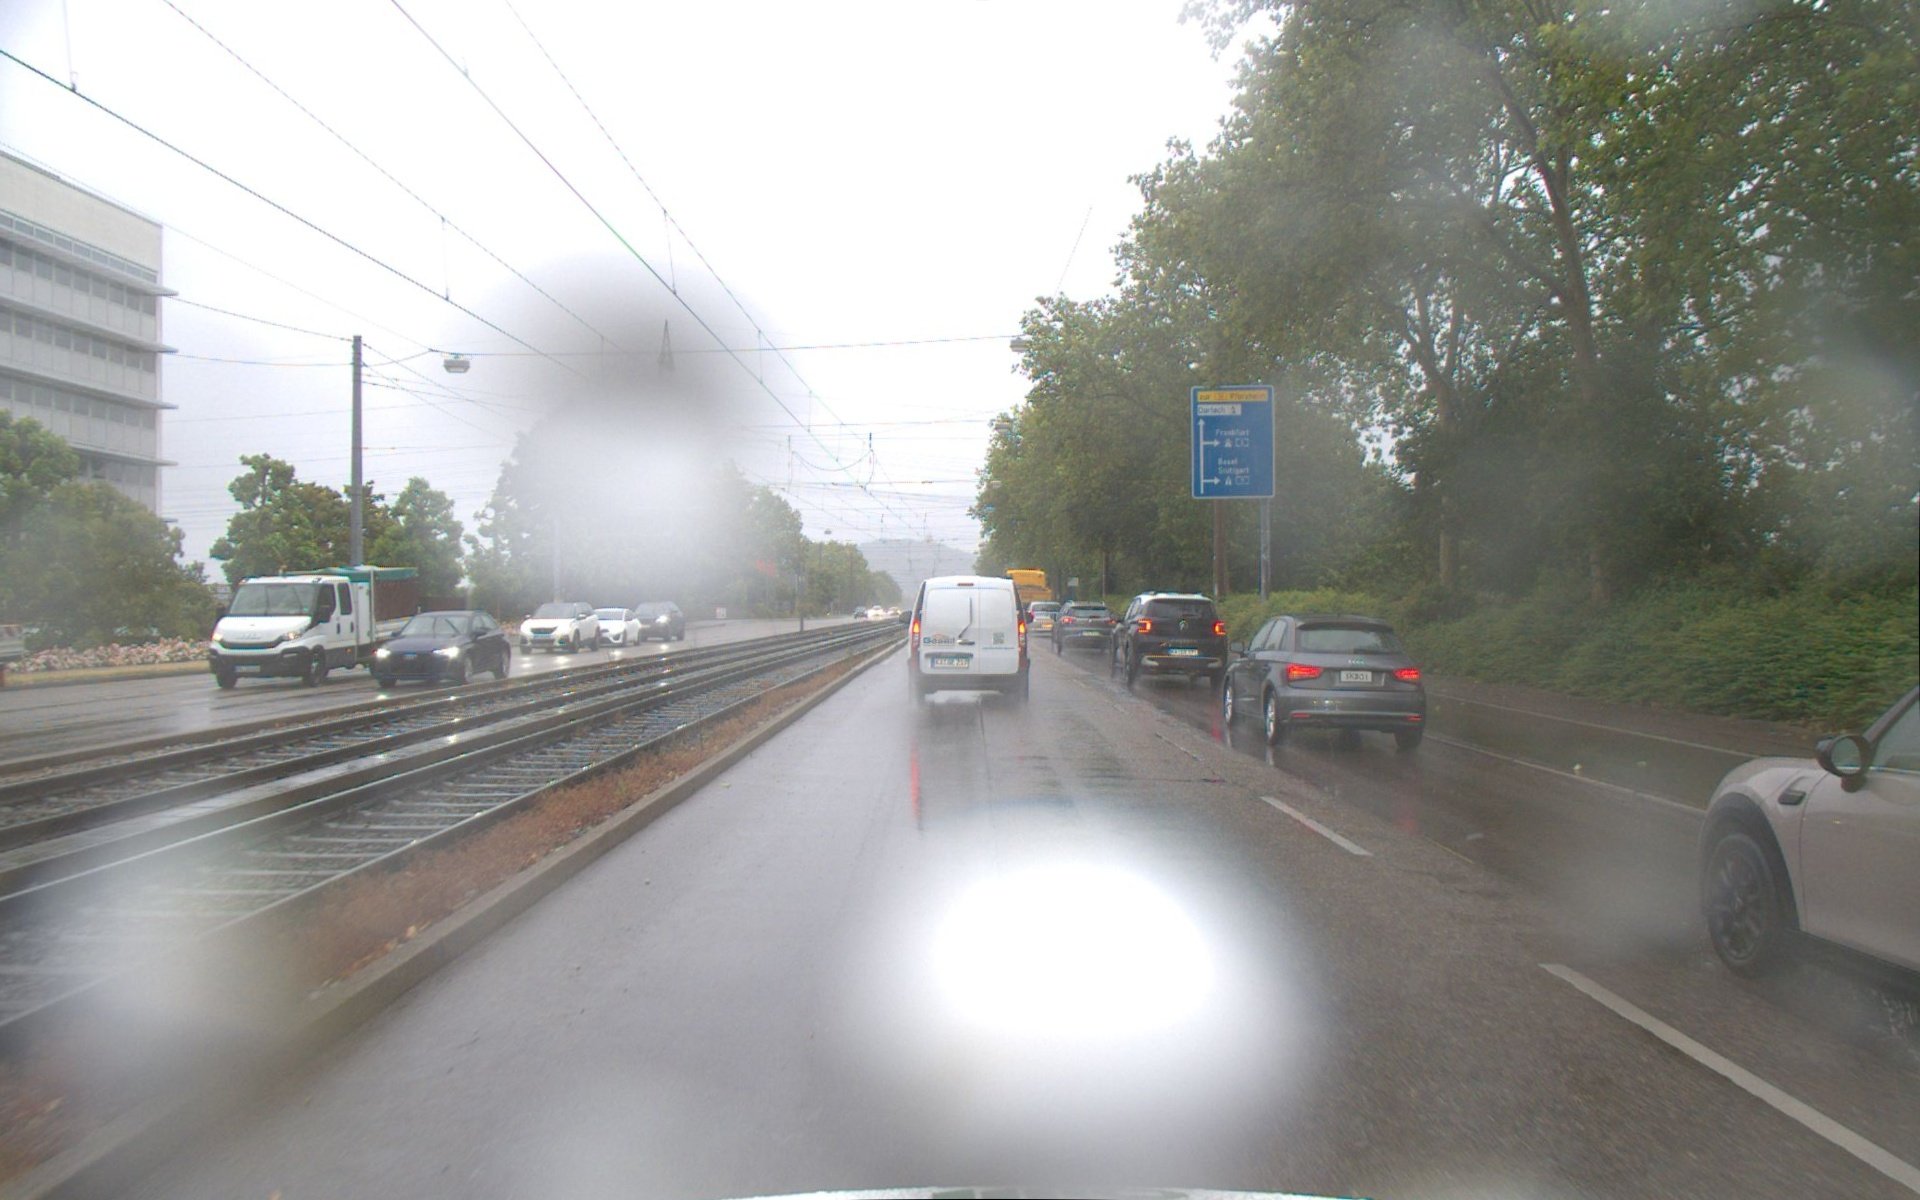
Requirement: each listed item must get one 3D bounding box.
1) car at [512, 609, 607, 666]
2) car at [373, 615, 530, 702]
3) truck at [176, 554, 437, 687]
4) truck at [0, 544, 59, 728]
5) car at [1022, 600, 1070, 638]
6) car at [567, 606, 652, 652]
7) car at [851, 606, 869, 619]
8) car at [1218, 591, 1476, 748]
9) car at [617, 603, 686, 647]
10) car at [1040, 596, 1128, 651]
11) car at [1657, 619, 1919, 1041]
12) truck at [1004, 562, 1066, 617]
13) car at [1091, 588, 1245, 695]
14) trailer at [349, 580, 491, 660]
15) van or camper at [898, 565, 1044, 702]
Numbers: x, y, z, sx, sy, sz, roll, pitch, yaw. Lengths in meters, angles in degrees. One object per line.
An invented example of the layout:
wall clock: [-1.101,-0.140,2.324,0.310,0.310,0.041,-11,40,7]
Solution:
car: [-13.178,1.198,54.679,1.734,1.712,4.690,2,0,3]
car: [-10.367,1.140,34.052,1.781,1.651,4.536,0,0,0]
truck: [-13.804,0.417,35.649,2.384,2.501,7.221,2,0,3]
truck: [-14.191,0.526,20.838,2.181,2.505,6.067,-2,0,1]
car: [3.478,0.747,67.396,1.780,1.438,3.779,1,1,1]
car: [-13.196,1.047,62.543,1.952,1.611,4.768,-1,0,3]
car: [-13.111,1.588,217.729,1.952,1.646,4.254,-1,0,2]
car: [4.267,0.697,18.912,1.928,1.555,3.990,1,1,-1]
car: [-13.249,1.044,71.240,1.952,1.751,4.882,-1,0,1]
car: [3.494,0.638,47.172,1.783,1.438,3.773,1,1,-7]
car: [4.171,0.829,5.788,1.755,1.438,3.853,3,-1,-1]
truck: [3.941,-0.535,88.113,3.049,2.822,6.329,1,0,0]
car: [3.693,0.680,30.172,1.862,1.747,4.721,1,1,-4]
trailer: [-13.414,0.487,41.343,2.075,1.824,3.838,2,0,3]
van or camper: [0.081,0.427,24.511,1.953,1.815,3.999,2,1,-2]
